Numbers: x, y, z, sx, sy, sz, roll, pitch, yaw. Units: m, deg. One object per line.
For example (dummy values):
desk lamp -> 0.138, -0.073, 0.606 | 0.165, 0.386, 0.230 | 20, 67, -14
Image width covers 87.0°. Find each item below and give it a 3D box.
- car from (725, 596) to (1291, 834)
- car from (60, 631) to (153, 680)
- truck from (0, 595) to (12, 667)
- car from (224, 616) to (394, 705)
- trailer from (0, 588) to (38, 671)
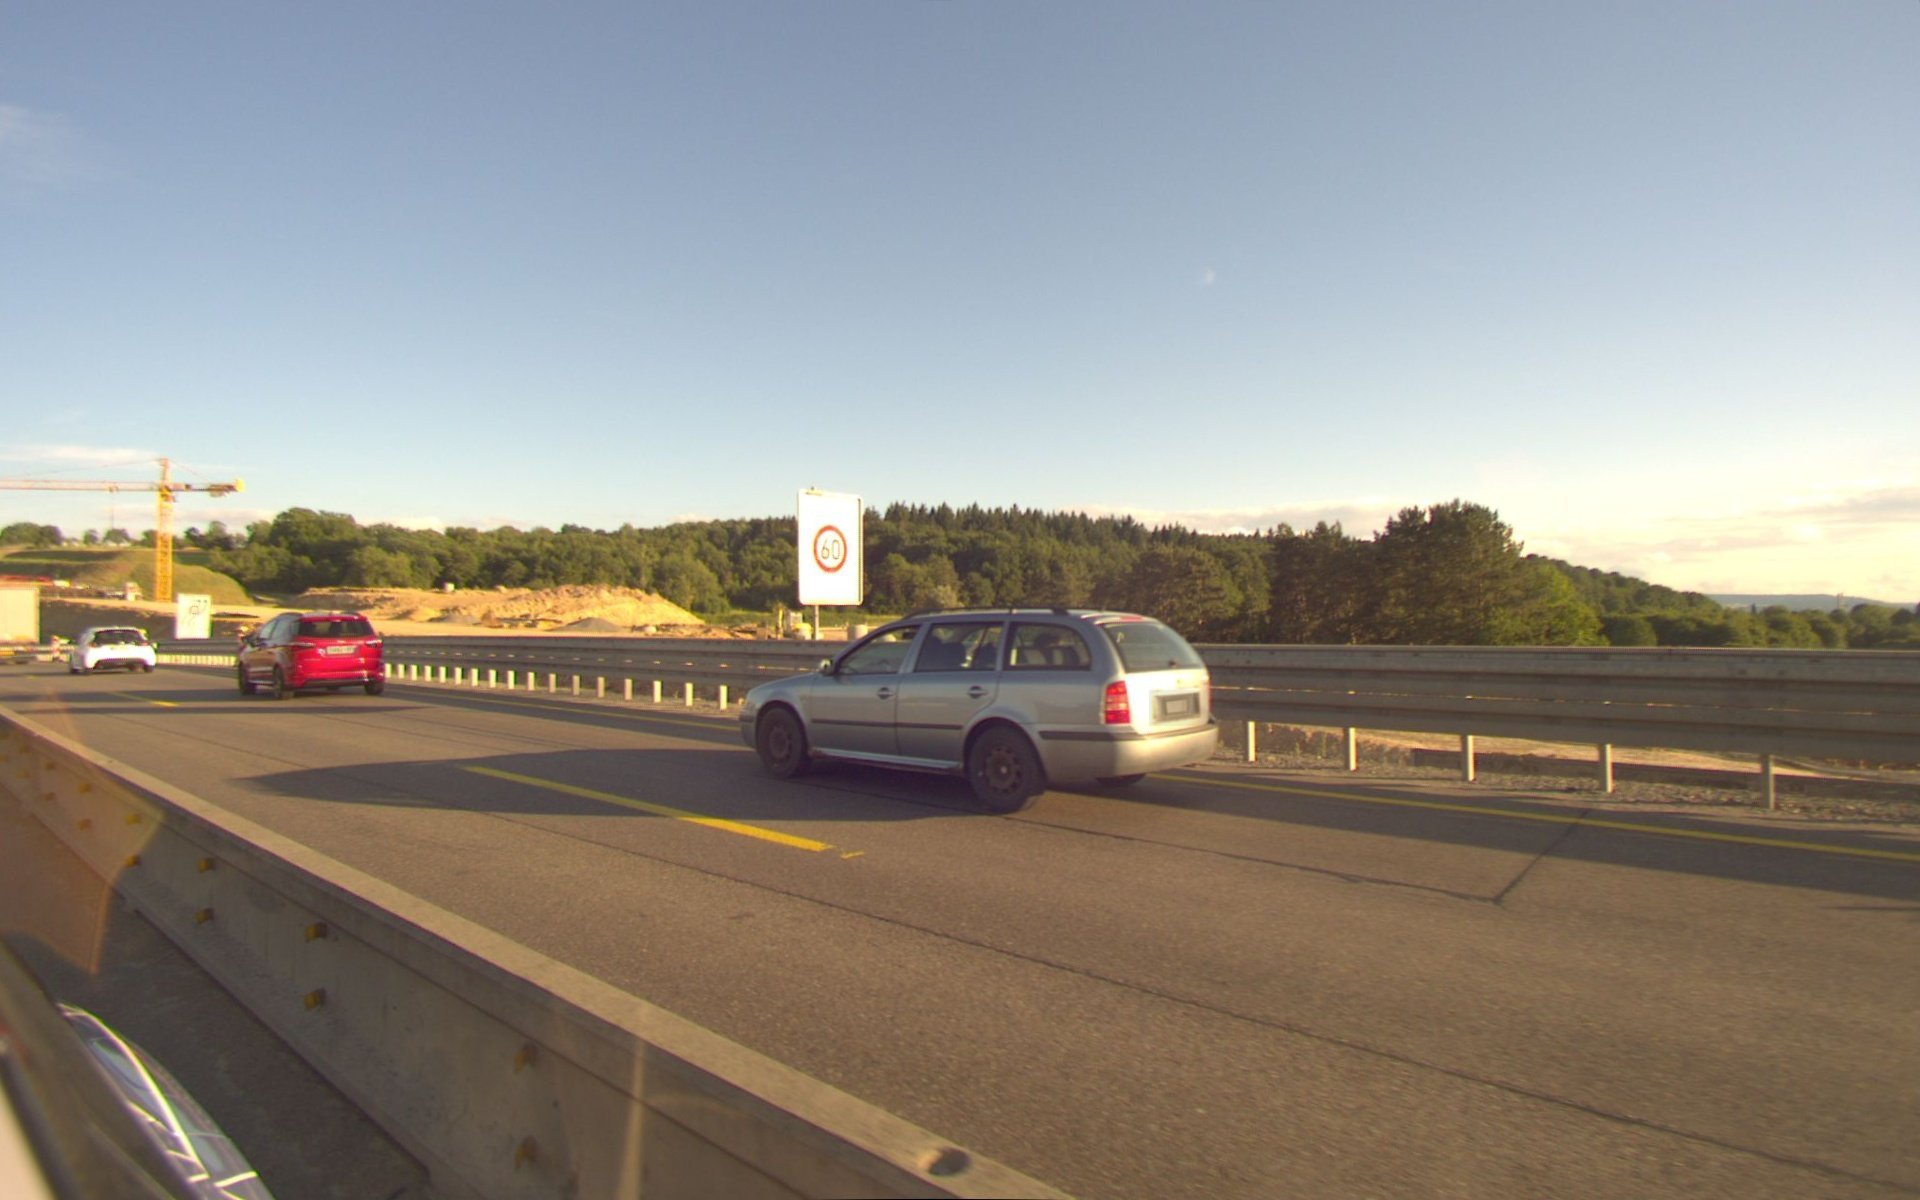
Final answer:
car -> 0.142, 0.760, 8.281 | 4.576, 1.433, 1.659 | -2, -1, 41
car -> -27.322, 1.751, 32.362 | 3.997, 1.457, 1.683 | -2, -2, 41
truck -> -57.334, 1.851, 58.798 | 5.670, 4.079, 2.784 | -2, -2, 42
car -> -12.818, 1.136, 19.849 | 3.997, 1.583, 1.761 | -2, -2, 41
trailer -> -52.579, 1.664, 54.549 | 14.015, 4.081, 2.784 | -2, -2, 42
